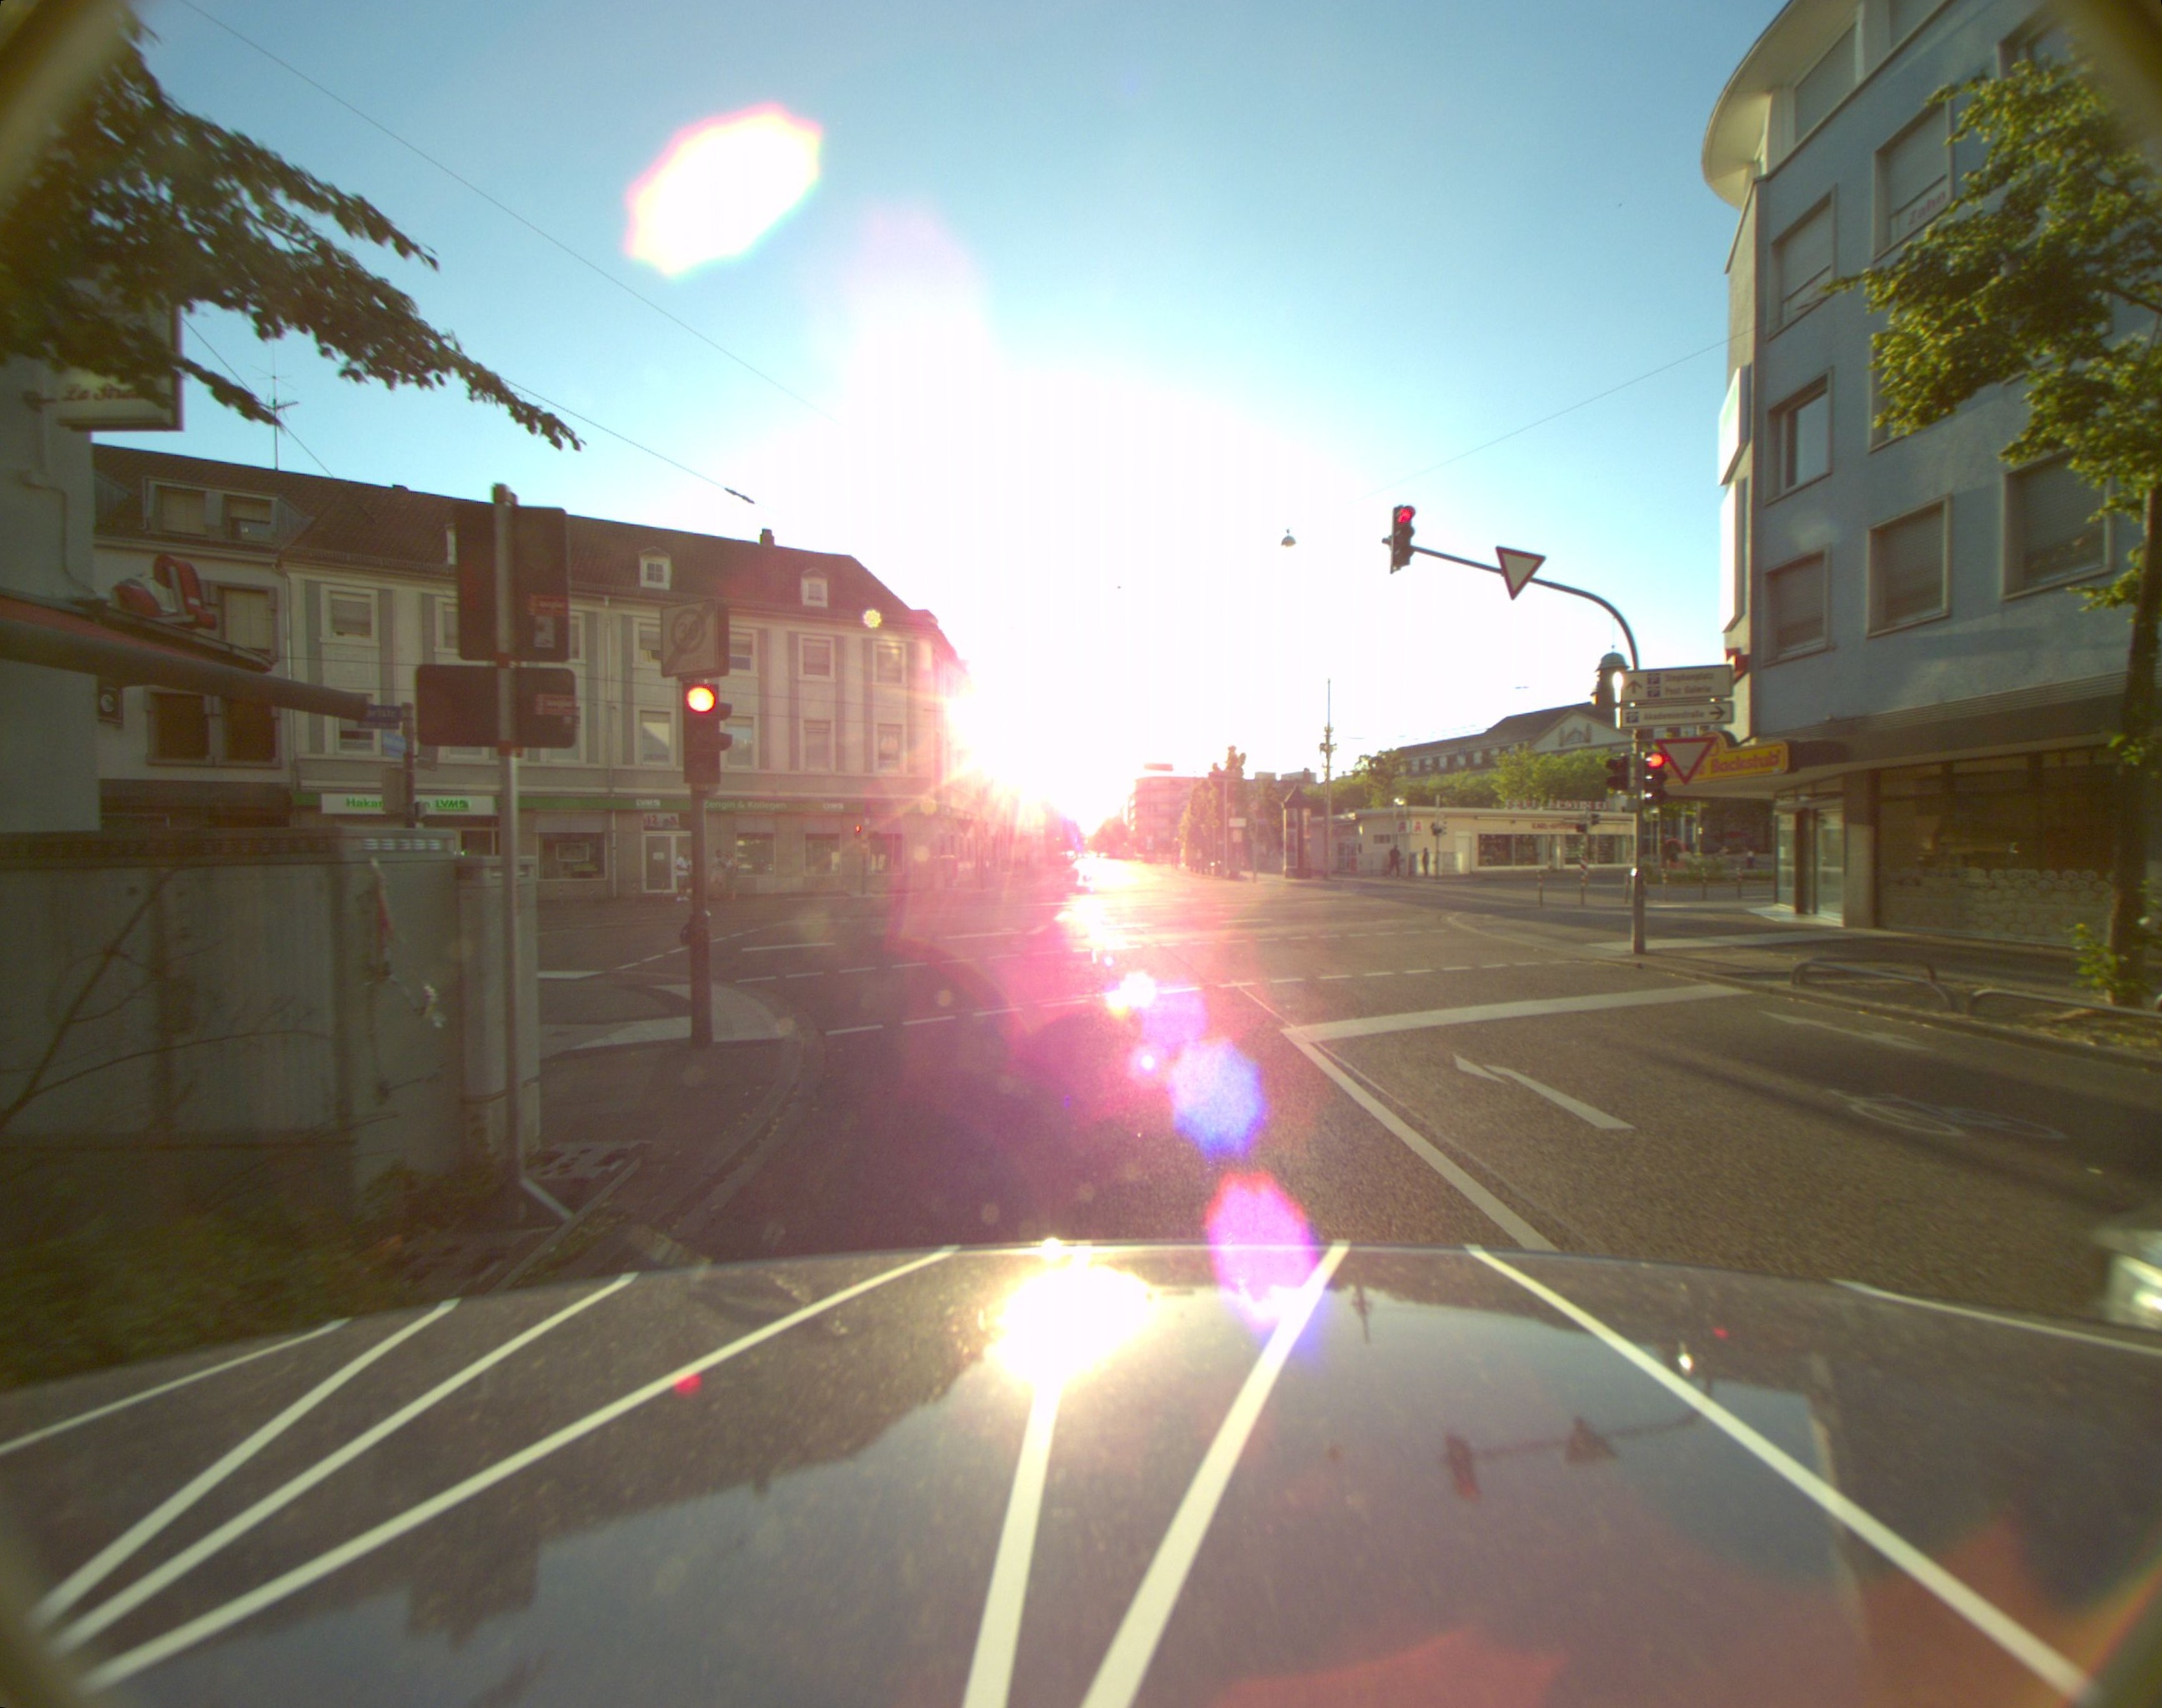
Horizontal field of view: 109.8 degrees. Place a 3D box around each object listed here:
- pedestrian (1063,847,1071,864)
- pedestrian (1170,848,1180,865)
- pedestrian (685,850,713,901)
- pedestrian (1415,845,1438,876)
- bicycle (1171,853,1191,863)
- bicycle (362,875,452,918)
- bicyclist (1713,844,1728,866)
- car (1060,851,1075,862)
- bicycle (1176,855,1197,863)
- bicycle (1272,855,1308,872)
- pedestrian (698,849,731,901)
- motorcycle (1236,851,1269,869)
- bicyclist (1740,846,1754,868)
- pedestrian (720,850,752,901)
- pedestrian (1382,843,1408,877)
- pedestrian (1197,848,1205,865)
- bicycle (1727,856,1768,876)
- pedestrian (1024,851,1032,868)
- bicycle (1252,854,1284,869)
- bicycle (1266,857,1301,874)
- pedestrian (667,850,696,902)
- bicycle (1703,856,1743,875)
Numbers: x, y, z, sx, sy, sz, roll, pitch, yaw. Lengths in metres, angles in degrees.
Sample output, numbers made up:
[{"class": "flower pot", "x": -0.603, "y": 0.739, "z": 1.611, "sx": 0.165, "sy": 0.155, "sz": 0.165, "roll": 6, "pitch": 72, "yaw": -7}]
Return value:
[{"class": "pedestrian", "x": -1.493, "y": 0.172, "z": 82.405, "sx": 0.842, "sy": 1.736, "sz": 0.700, "roll": -2, "pitch": 2, "yaw": -1}, {"class": "pedestrian", "x": 9.576, "y": 0.280, "z": 77.299, "sx": 0.905, "sy": 1.667, "sz": 0.780, "roll": -1, "pitch": 2, "yaw": 12}, {"class": "pedestrian", "x": -13.741, "y": 0.766, "z": 27.315, "sx": 0.685, "sy": 1.762, "sz": 0.628, "roll": -3, "pitch": 2, "yaw": -40}, {"class": "pedestrian", "x": 19.251, "y": 0.369, "z": 42.335, "sx": 0.781, "sy": 1.667, "sz": 0.904, "roll": -3, "pitch": 2, "yaw": -35}, {"class": "bicycle", "x": 12.255, "y": 0.505, "z": 93.315, "sx": 2.399, "sy": 1.065, "sz": 0.672, "roll": -2, "pitch": 2, "yaw": 7}, {"class": "bicycle", "x": -20.423, "y": 1.268, "z": 23.060, "sx": 1.874, "sy": 1.177, "sz": 0.695, "roll": -2, "pitch": 2, "yaw": -19}, {"class": "bicyclist", "x": 52.058, "y": 0.093, "z": 61.847, "sx": 0.788, "sy": 1.710, "sz": 0.594, "roll": -1, "pitch": 2, "yaw": 19}, {"class": "car", "x": -1.917, "y": 0.352, "z": 110.250, "sx": 1.998, "sy": 1.538, "sz": 4.508, "roll": -2, "pitch": 1, "yaw": 1}, {"class": "bicycle", "x": 12.553, "y": 0.593, "z": 90.598, "sx": 2.399, "sy": 0.953, "sz": 0.672, "roll": -2, "pitch": 2, "yaw": 7}, {"class": "bicycle", "x": 13.955, "y": 0.643, "z": 50.873, "sx": 2.197, "sy": 1.081, "sz": 0.779, "roll": -1, "pitch": 1, "yaw": -6}, {"class": "pedestrian", "x": -13.137, "y": 0.746, "z": 27.251, "sx": 0.779, "sy": 1.802, "sz": 0.906, "roll": -2, "pitch": 2, "yaw": -12}, {"class": "motorcycle", "x": 13.561, "y": 0.482, "z": 60.031, "sx": 2.450, "sy": 1.358, "sz": 0.780, "roll": -2, "pitch": 0, "yaw": 6}, {"class": "bicyclist", "x": 52.342, "y": 0.236, "z": 59.748, "sx": 0.654, "sy": 1.702, "sz": 0.621, "roll": -1, "pitch": 2, "yaw": 19}, {"class": "pedestrian", "x": -12.352, "y": 0.741, "z": 27.239, "sx": 0.779, "sy": 1.761, "sz": 0.906, "roll": -2, "pitch": 2, "yaw": -12}, {"class": "pedestrian", "x": 16.526, "y": 0.310, "z": 39.975, "sx": 0.907, "sy": 1.774, "sz": 0.879, "roll": -2, "pitch": 2, "yaw": -21}, {"class": "pedestrian", "x": 11.820, "y": 0.248, "z": 74.777, "sx": 0.778, "sy": 1.667, "sz": 0.907, "roll": -2, "pitch": 2, "yaw": 8}, {"class": "bicycle", "x": 52.335, "y": 0.968, "z": 59.677, "sx": 2.414, "sy": 1.477, "sz": 0.616, "roll": -1, "pitch": 2, "yaw": 19}, {"class": "pedestrian", "x": -5.375, "y": 0.561, "z": 77.161, "sx": 0.673, "sy": 1.774, "sz": 0.720, "roll": 1, "pitch": 2, "yaw": -16}, {"class": "bicycle", "x": 13.953, "y": 0.554, "z": 56.788, "sx": 2.181, "sy": 1.081, "sz": 0.779, "roll": 0, "pitch": 2, "yaw": 0}, {"class": "bicycle", "x": 13.845, "y": 0.760, "z": 51.997, "sx": 2.221, "sy": 1.081, "sz": 0.779, "roll": -1, "pitch": 1, "yaw": -6}, {"class": "pedestrian", "x": -14.109, "y": 0.759, "z": 26.819, "sx": 0.688, "sy": 1.762, "sz": 0.763, "roll": -3, "pitch": 2, "yaw": -40}, {"class": "bicycle", "x": 52.234, "y": 0.919, "z": 61.836, "sx": 2.495, "sy": 1.477, "sz": 0.594, "roll": -1, "pitch": 2, "yaw": 19}]
